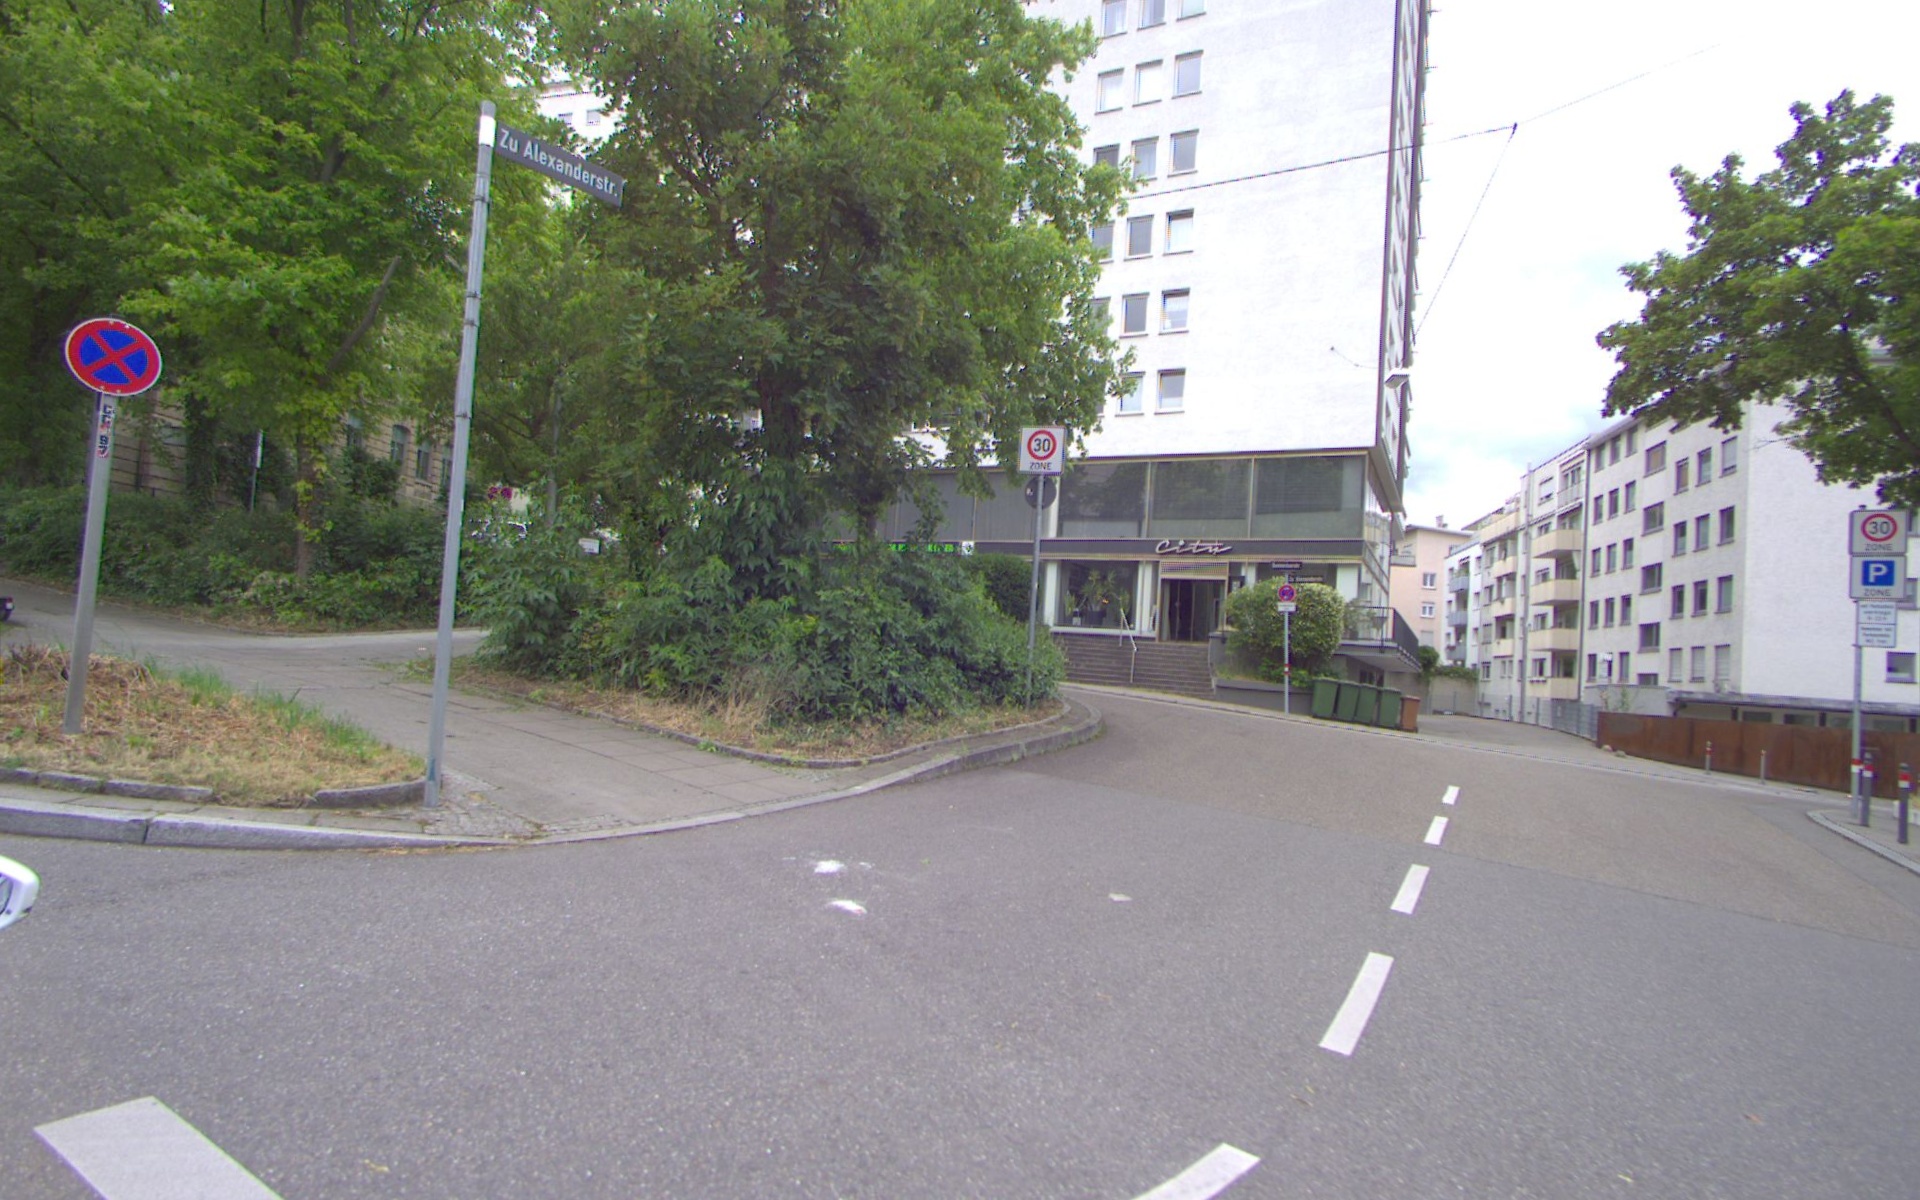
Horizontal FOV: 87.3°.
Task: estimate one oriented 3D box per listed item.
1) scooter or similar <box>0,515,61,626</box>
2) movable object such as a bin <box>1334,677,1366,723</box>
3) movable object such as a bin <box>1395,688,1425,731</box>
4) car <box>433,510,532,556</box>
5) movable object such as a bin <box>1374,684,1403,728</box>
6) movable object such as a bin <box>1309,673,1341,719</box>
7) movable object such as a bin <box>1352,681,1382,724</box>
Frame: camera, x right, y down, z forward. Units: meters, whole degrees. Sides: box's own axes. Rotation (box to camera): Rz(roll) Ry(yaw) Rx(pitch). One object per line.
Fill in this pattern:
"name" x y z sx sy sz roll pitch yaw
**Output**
"scooter or similar" -11.381 -0.401 11.667 1.528 1.225 0.632 6 0 17
"movable object such as a bin" 10.014 2.559 25.859 0.565 1.082 0.554 7 0 11
"movable object such as a bin" 11.694 2.845 26.142 0.485 1.030 0.547 7 0 11
"car" -25.057 -3.473 53.052 2.136 1.959 5.216 4 1 8
"movable object such as a bin" 11.185 2.760 26.244 0.485 1.037 0.547 7 0 11
"movable object such as a bin" 9.419 2.481 25.970 0.599 1.092 0.554 7 0 11
"movable object such as a bin" 10.651 2.676 26.342 0.528 1.054 0.536 7 0 11
